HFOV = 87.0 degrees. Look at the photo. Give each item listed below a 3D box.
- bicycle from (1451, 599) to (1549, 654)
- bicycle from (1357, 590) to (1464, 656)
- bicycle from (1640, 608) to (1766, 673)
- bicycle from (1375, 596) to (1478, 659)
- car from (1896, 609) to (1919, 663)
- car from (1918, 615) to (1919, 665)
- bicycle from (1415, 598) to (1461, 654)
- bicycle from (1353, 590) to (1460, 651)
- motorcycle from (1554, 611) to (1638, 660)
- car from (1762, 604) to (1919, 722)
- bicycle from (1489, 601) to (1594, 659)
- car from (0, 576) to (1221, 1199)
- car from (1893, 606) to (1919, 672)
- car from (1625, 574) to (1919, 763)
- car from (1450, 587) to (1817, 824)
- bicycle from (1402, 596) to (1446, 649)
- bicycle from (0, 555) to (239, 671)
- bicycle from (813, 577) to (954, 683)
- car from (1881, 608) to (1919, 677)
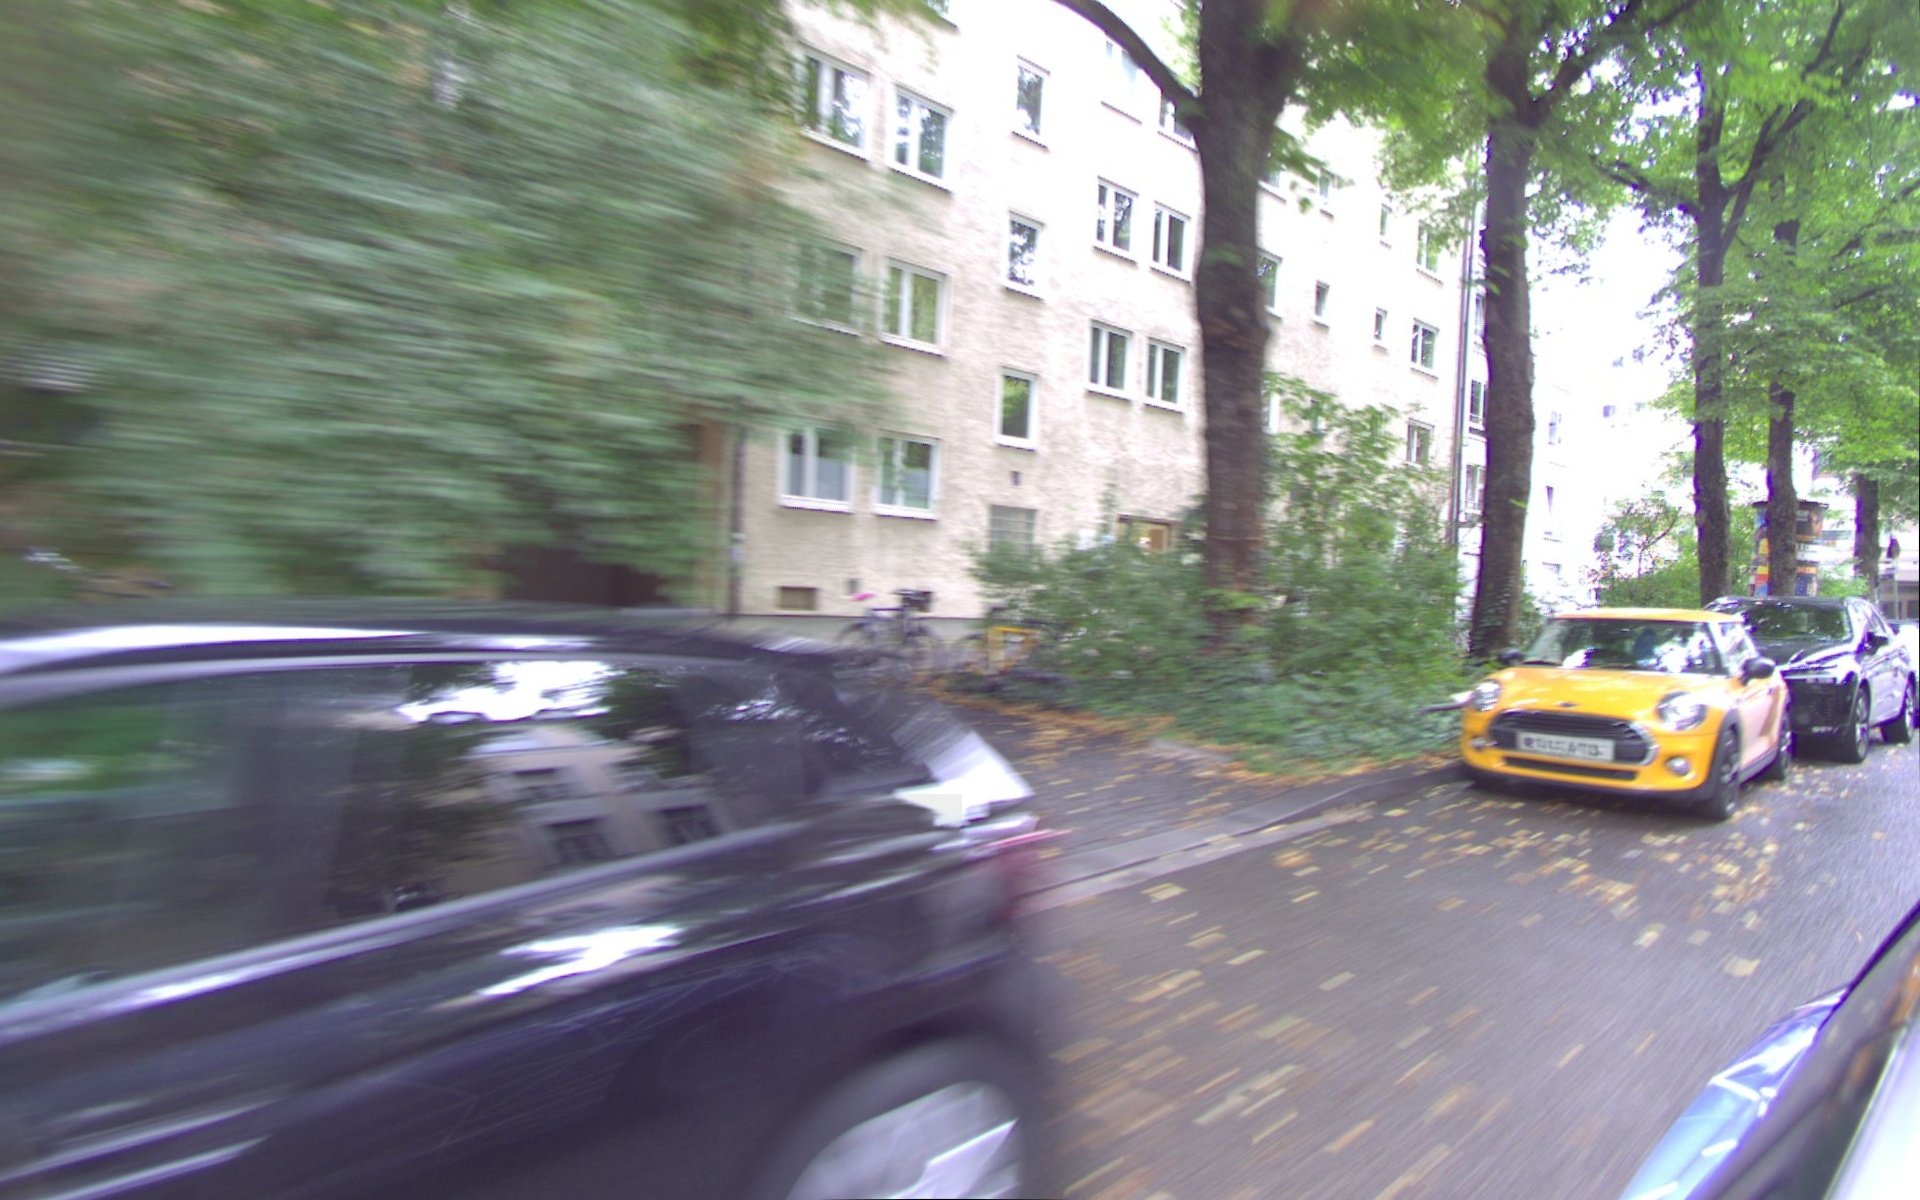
[{"bbox_3d":[12.229,0.573,22.939,1.868,1.138,0.532,3,1,39],"label":"bicycle"},{"bbox_3d":[8.468,0.419,19.063,1.746,1.138,0.443,2,0,15],"label":"bicycle"},{"bbox_3d":[14.878,0.797,20.315,1.843,1.178,0.763,2,1,14],"label":"bicycle"},{"bbox_3d":[9.079,0.516,19.744,1.746,1.138,0.443,2,0,15],"label":"bicycle"},{"bbox_3d":[27.080,1.034,25.698,1.927,1.394,4.724,1,2,-43],"label":"car"},{"bbox_3d":[25.299,0.901,23.677,1.724,1.575,3.982,1,2,-39],"label":"car"},{"bbox_3d":[10.221,0.543,21.612,0.443,1.138,1.746,2,1,39],"label":"bicycle"},{"bbox_3d":[9.098,0.395,20.672,1.936,1.138,0.440,3,1,36],"label":"bicycle"},{"bbox_3d":[17.263,0.946,27.483,1.802,1.212,0.680,3,1,44],"label":"motorcycle"},{"bbox_3d":[13.698,0.839,15.066,4.351,1.430,1.903,0,3,-40],"label":"car"},{"bbox_3d":[12.515,0.620,21.813,1.868,1.138,0.532,3,1,39],"label":"bicycle"},{"bbox_3d":[-1.446,0.659,1.703,3.938,1.375,1.685,1,0,-41],"label":"car"},{"bbox_3d":[23.374,0.960,22.343,1.796,1.465,3.941,1,2,-43],"label":"car"},{"bbox_3d":[9.168,0.630,11.119,4.444,1.649,1.836,1,1,-39],"label":"car"},{"bbox_3d":[5.557,0.675,8.167,3.716,1.430,1.620,1,1,-43],"label":"car"},{"bbox_3d":[10.504,0.490,22.890,0.443,1.138,1.746,2,1,39],"label":"bicycle"},{"bbox_3d":[-8.336,0.119,10.094,1.804,1.056,0.555,1,2,-42],"label":"bicycle"},{"bbox_3d":[-0.928,0.313,11.871,1.830,1.097,0.538,4,2,43],"label":"bicycle"},{"bbox_3d":[21.624,0.973,20.523,1.703,1.411,4.094,1,2,-38],"label":"car"}]
